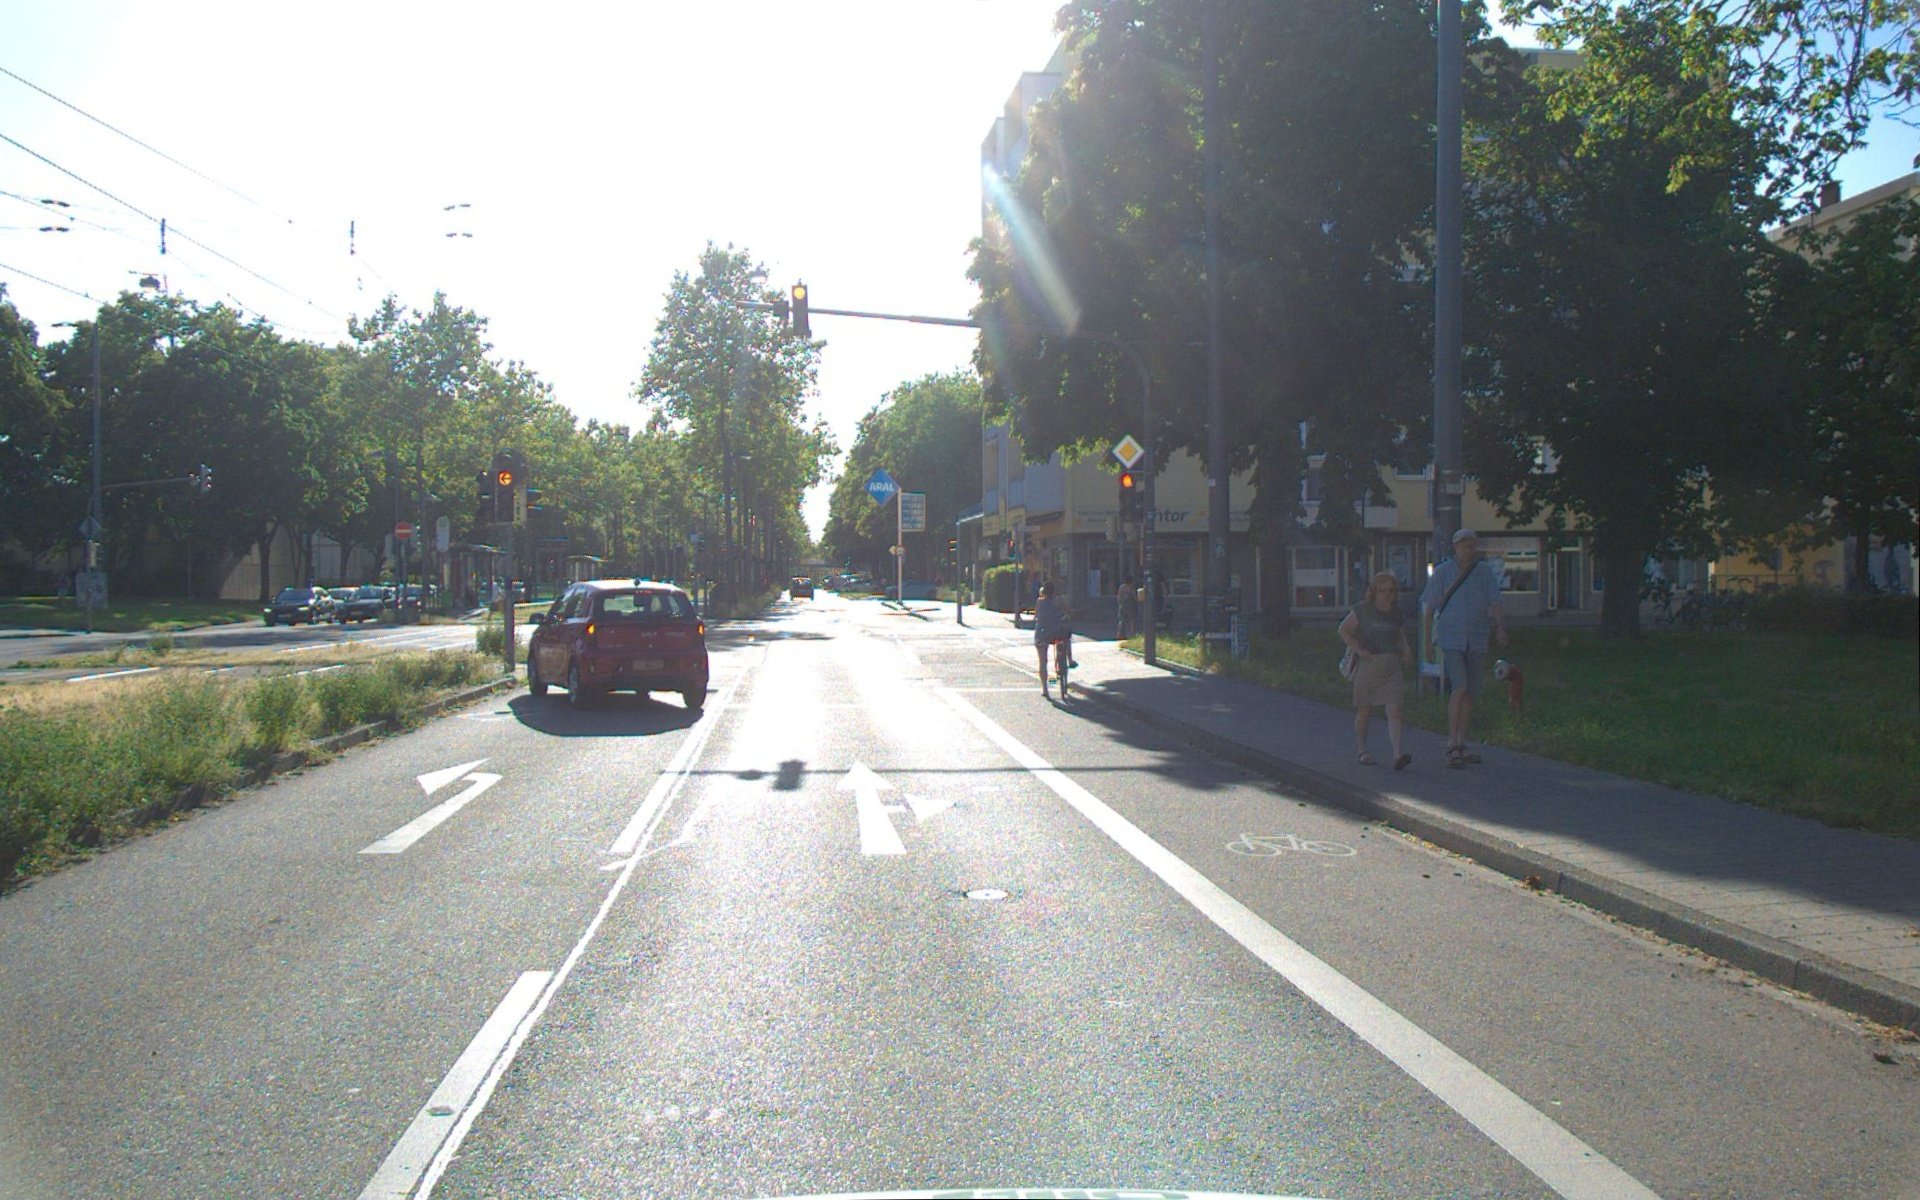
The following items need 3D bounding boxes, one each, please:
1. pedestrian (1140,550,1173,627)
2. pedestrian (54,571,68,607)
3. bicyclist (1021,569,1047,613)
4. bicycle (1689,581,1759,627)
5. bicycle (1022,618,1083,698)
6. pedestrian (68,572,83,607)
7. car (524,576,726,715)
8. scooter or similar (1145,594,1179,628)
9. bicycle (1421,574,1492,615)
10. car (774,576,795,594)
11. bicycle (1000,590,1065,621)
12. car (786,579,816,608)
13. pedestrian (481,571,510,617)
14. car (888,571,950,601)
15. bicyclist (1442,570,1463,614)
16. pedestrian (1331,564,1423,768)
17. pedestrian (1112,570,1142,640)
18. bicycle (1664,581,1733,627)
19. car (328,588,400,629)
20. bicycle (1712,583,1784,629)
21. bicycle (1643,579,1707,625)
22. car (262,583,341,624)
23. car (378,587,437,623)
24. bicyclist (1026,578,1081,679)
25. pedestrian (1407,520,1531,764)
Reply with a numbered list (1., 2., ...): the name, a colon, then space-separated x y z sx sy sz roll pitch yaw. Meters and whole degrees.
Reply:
1. pedestrian: 4.497 -0.262 37.851 0.714 1.711 0.533 2 0 7
2. pedestrian: -40.292 -0.500 74.123 0.427 1.587 0.304 2 0 -10
3. bicyclist: 2.613 -0.323 58.269 0.752 1.496 0.899 -1 2 11
4. bicycle: 18.476 0.083 40.053 0.585 1.052 1.988 2 1 -6
5. bicycle: 1.257 0.776 22.709 0.635 0.989 1.803 2 1 -3
6. pedestrian: -39.676 -0.467 74.208 0.427 1.533 0.487 2 0 -9
7. car: -4.293 0.505 20.798 1.673 1.534 3.670 1 1 -25
8. scooter or similar: 4.541 0.246 37.198 0.586 0.750 0.680 2 1 -6
9. bicycle: 18.221 -0.212 60.724 2.423 1.424 0.607 2 0 -7
10. car: -16.284 -1.396 153.528 1.858 1.639 4.494 2 1 -6
11. bicycle: 2.559 0.189 58.240 2.203 1.004 0.790 0 6 10
12. car: -11.063 -0.465 114.997 1.931 1.892 3.994 2 1 -7
13. pedestrian: -16.839 -0.204 59.964 0.873 1.634 0.613 2 0 -6
14. car: -2.711 -0.932 111.065 3.903 1.892 2.013 2 1 5
15. bicyclist: 17.902 -0.297 60.127 0.517 1.594 0.463 2 0 -8
16. pedestrian: 3.283 0.505 13.044 0.518 1.555 0.627 -2 0 0
17. pedestrian: 3.813 0.111 37.810 0.633 1.549 0.496 2 0 7
18. bicycle: 17.819 0.075 39.966 0.585 1.052 2.004 2 1 -6
19. car: -23.989 0.318 66.679 1.654 1.559 4.356 -1 1 -5
20. bicycle: 19.114 0.126 40.168 0.585 1.052 2.004 2 1 -6
21. bicycle: 17.213 0.032 39.853 0.585 1.052 1.794 2 1 -6
22. car: -26.329 0.117 66.260 1.771 1.559 4.356 -1 1 -5
23. car: -24.282 0.199 72.797 1.535 1.426 3.911 2 1 -5
24. bicyclist: 1.274 0.381 22.698 0.625 1.346 0.802 2 0 -3
25. pedestrian: 3.972 0.308 12.950 0.688 1.820 0.694 -3 2 0
